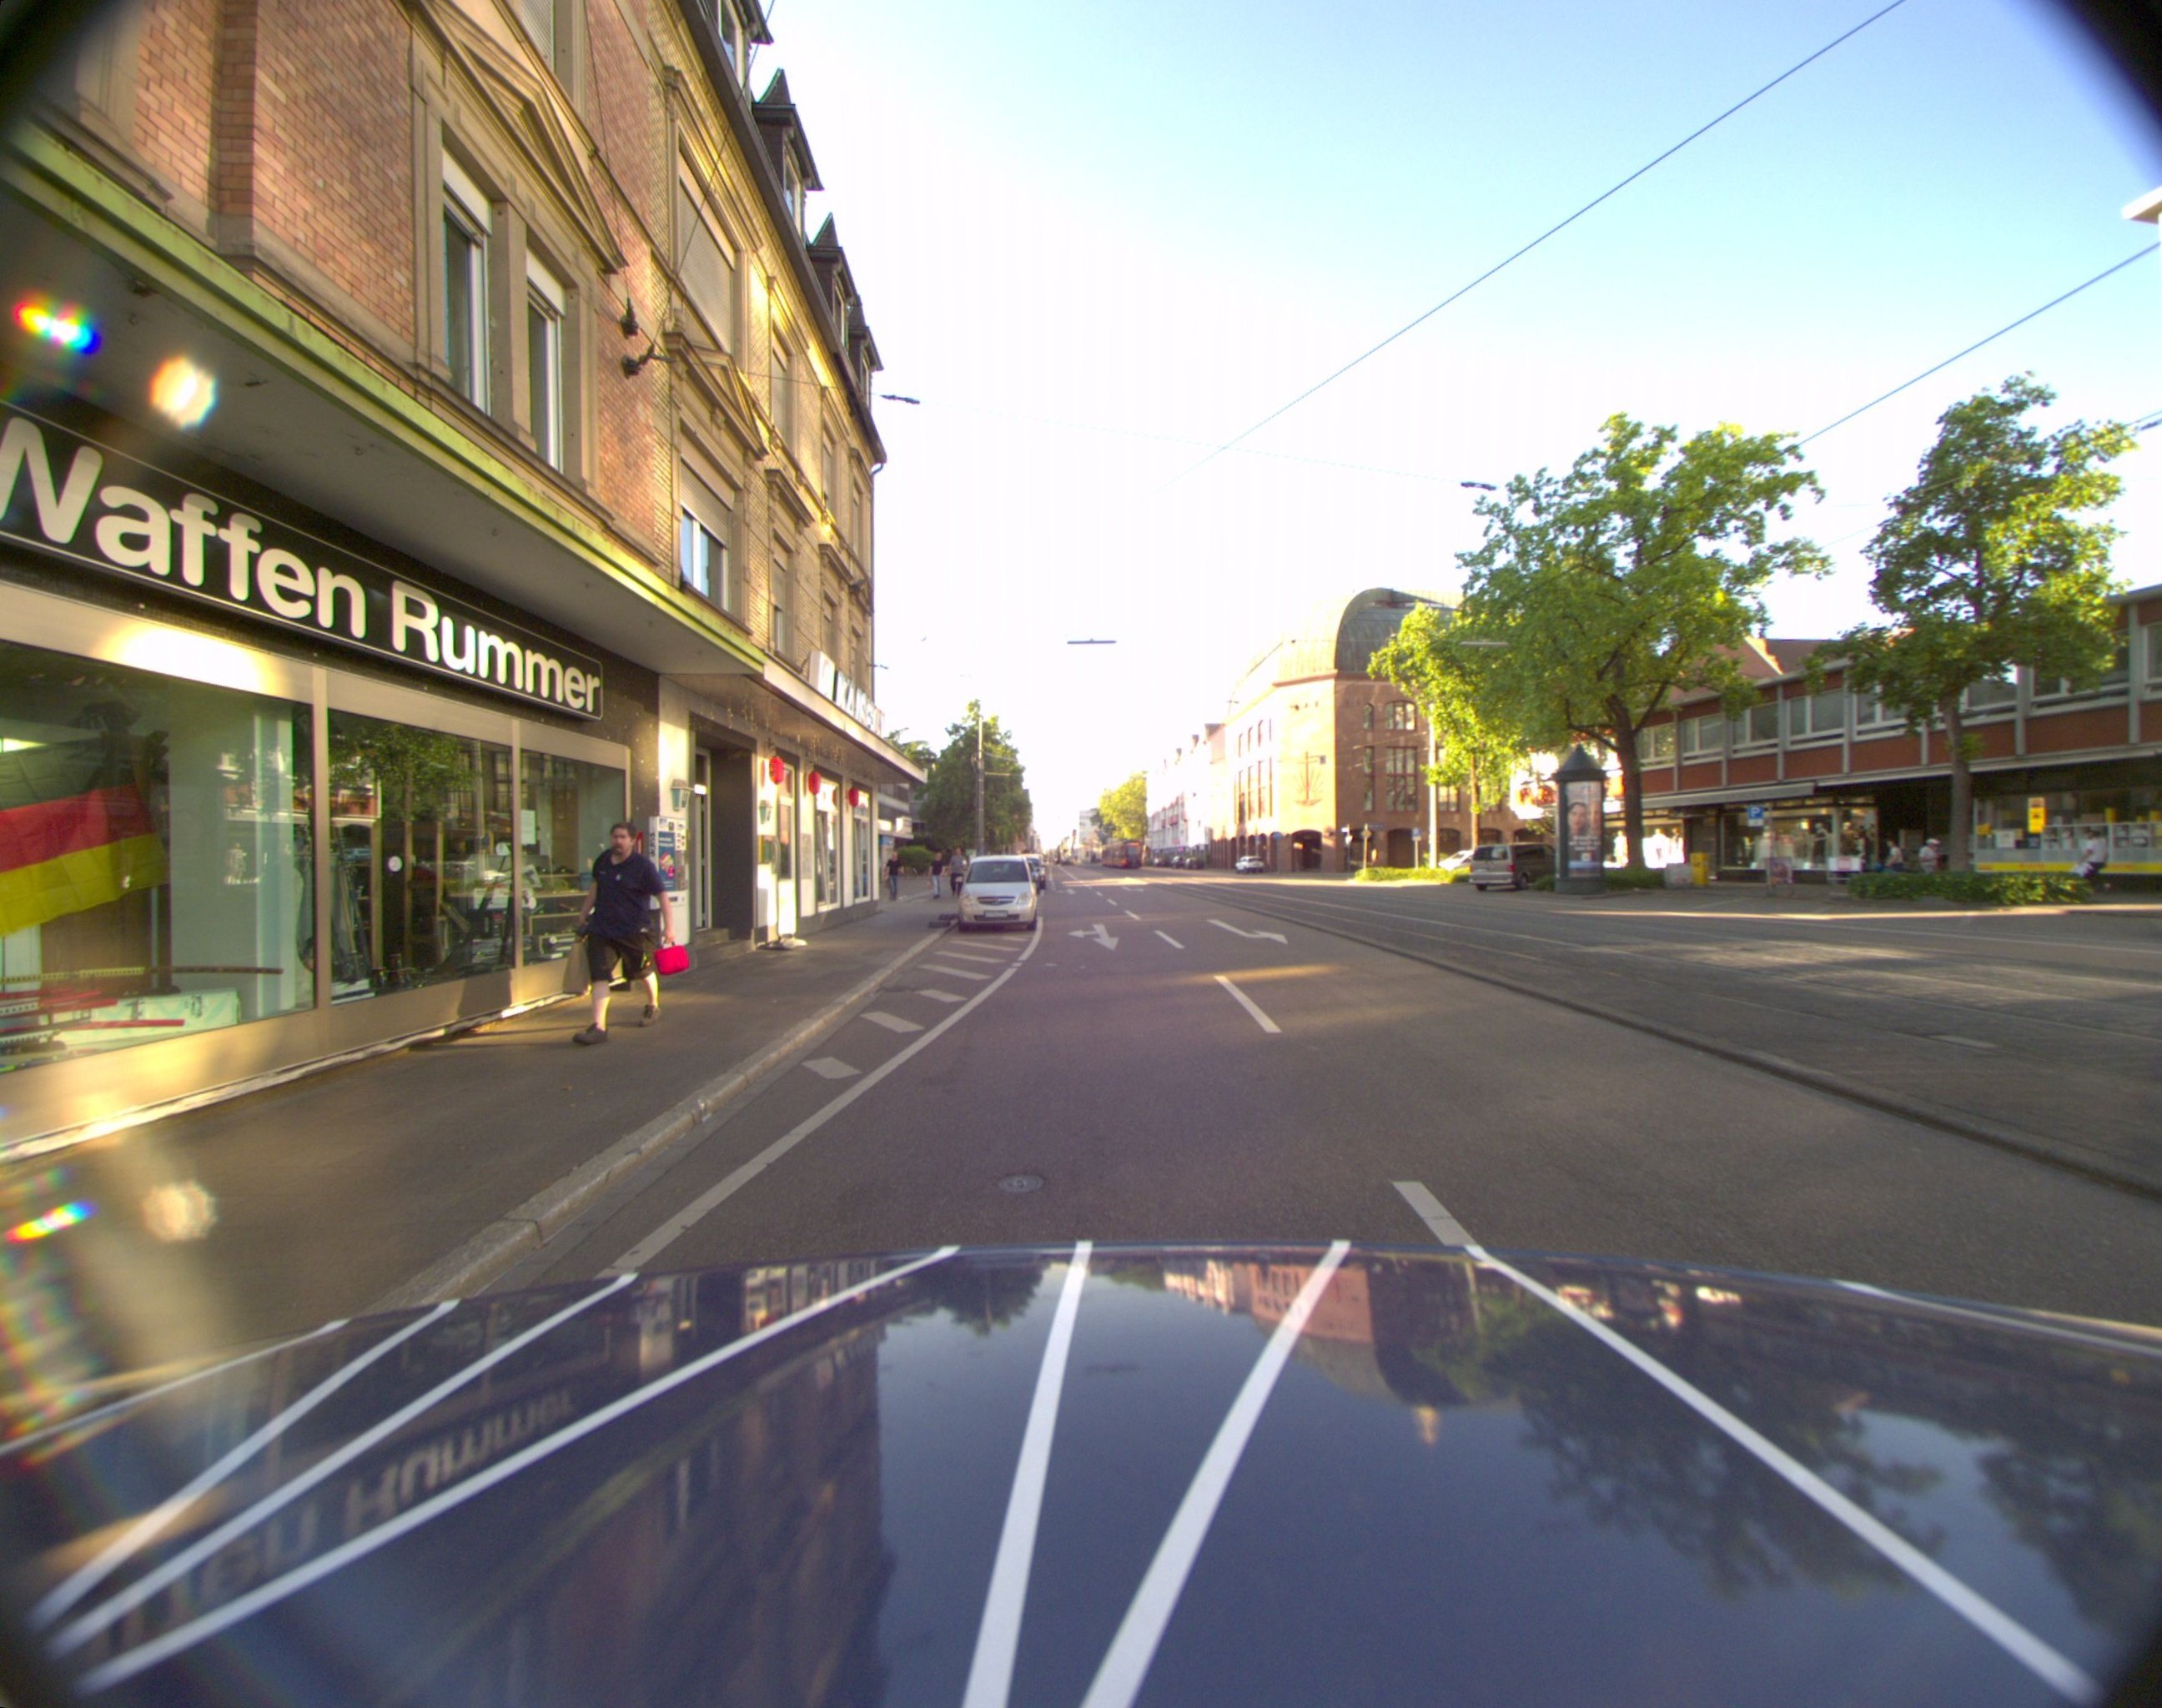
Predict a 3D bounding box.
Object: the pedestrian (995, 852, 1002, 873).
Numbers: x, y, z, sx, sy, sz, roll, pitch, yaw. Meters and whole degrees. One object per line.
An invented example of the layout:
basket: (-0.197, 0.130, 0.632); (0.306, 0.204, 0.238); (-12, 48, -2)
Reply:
pedestrian: (-6.731, 0.692, 62.095); (0.494, 1.703, 0.437); (2, 1, -3)

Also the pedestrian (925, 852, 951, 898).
pedestrian: (-5.429, 0.779, 28.877); (0.813, 1.746, 1.032); (0, 1, -3)

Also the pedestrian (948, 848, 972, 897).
pedestrian: (-4.652, 0.700, 29.343); (0.796, 1.888, 1.032); (0, 1, -3)

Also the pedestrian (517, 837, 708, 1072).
pedestrian: (-3.821, 0.764, 6.306); (0.949, 1.782, 1.054); (0, 1, -3)

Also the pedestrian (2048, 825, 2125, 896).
pedestrian: (28.133, 0.165, 21.277); (0.996, 1.937, 0.900); (-1, 1, -5)

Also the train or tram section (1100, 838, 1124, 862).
train or tram section: (4.729, -0.585, 118.186); (2.766, 3.530, 12.463); (0, 0, -3)

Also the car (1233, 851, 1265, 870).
car: (15.398, 0.566, 69.778); (1.600, 1.581, 4.276); (-3, 0, -4)

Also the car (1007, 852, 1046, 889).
car: (-2.776, 0.813, 39.612); (1.825, 1.747, 4.473); (-2, 1, -3)

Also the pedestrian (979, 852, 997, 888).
pedestrian: (-4.566, 0.793, 37.478); (0.789, 1.728, 0.945); (-1, 1, -3)

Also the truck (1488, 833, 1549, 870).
truck: (34.221, -0.199, 59.564); (1.856, 2.747, 4.528); (-1, 0, -7)

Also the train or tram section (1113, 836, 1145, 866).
train or tram section: (5.830, -0.410, 94.435); (2.683, 3.530, 12.837); (0, 0, -3)

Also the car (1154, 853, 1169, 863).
car: (12.934, 0.565, 122.237); (1.829, 1.500, 4.559); (-2, 0, -2)

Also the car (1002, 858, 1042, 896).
car: (-2.632, 0.989, 34.339); (1.642, 1.484, 3.793); (-3, 0, -4)

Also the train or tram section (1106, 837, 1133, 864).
train or tram section: (5.315, -0.504, 106.405); (2.683, 3.530, 11.122); (0, 0, -3)

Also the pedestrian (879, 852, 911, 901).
pedestrian: (-6.657, 0.780, 27.230); (0.903, 1.703, 1.032); (2, 0, -3)

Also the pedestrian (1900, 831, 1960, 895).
pedestrian: (25.691, 0.268, 23.020); (0.917, 1.867, 0.902); (0, 1, 24)

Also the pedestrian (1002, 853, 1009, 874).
pedestrian: (-6.158, 0.739, 62.164); (0.494, 1.703, 0.437); (2, 1, -3)

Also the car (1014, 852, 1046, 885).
car: (-2.952, 0.783, 44.310); (1.680, 1.797, 4.247); (-2, 0, -3)

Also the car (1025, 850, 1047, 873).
car: (-4.029, 0.666, 68.973); (1.882, 2.009, 4.904); (-2, 0, -2)

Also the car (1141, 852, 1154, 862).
car: (12.060, 0.467, 138.167); (1.931, 1.787, 4.383); (-1, 0, 1)

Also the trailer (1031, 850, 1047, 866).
trailer: (-5.669, 0.515, 102.517); (1.784, 2.136, 5.315); (-2, 0, 0)

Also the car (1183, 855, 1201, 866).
car: (14.052, 0.796, 96.479); (1.646, 1.392, 3.682); (-2, 0, -2)

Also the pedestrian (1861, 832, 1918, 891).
pedestrian: (26.532, 0.241, 24.949); (0.919, 1.867, 0.900); (-1, 1, -5)

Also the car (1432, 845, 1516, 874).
car: (28.485, 0.386, 55.150); (4.993, 1.957, 2.130); (-1, 3, -4)

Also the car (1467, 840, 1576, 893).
car: (18.589, 0.459, 31.967); (5.130, 1.918, 1.849); (-3, 2, -34)

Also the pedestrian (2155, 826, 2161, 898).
pedestrian: (28.401, 0.203, 19.512); (0.921, 1.867, 0.898); (-1, 1, -37)

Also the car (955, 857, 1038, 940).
car: (-1.836, 0.905, 17.337); (1.642, 1.605, 3.943); (-1, 0, -4)

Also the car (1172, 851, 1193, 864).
car: (13.802, 0.516, 103.383); (1.964, 1.690, 4.559); (-2, 0, -4)

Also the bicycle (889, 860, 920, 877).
bicycle: (-11.984, 0.990, 51.748); (2.020, 1.089, 0.637); (1, 0, -9)

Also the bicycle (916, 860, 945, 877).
bicycle: (-10.443, 1.005, 52.671); (1.886, 1.090, 0.469); (0, 1, -4)
